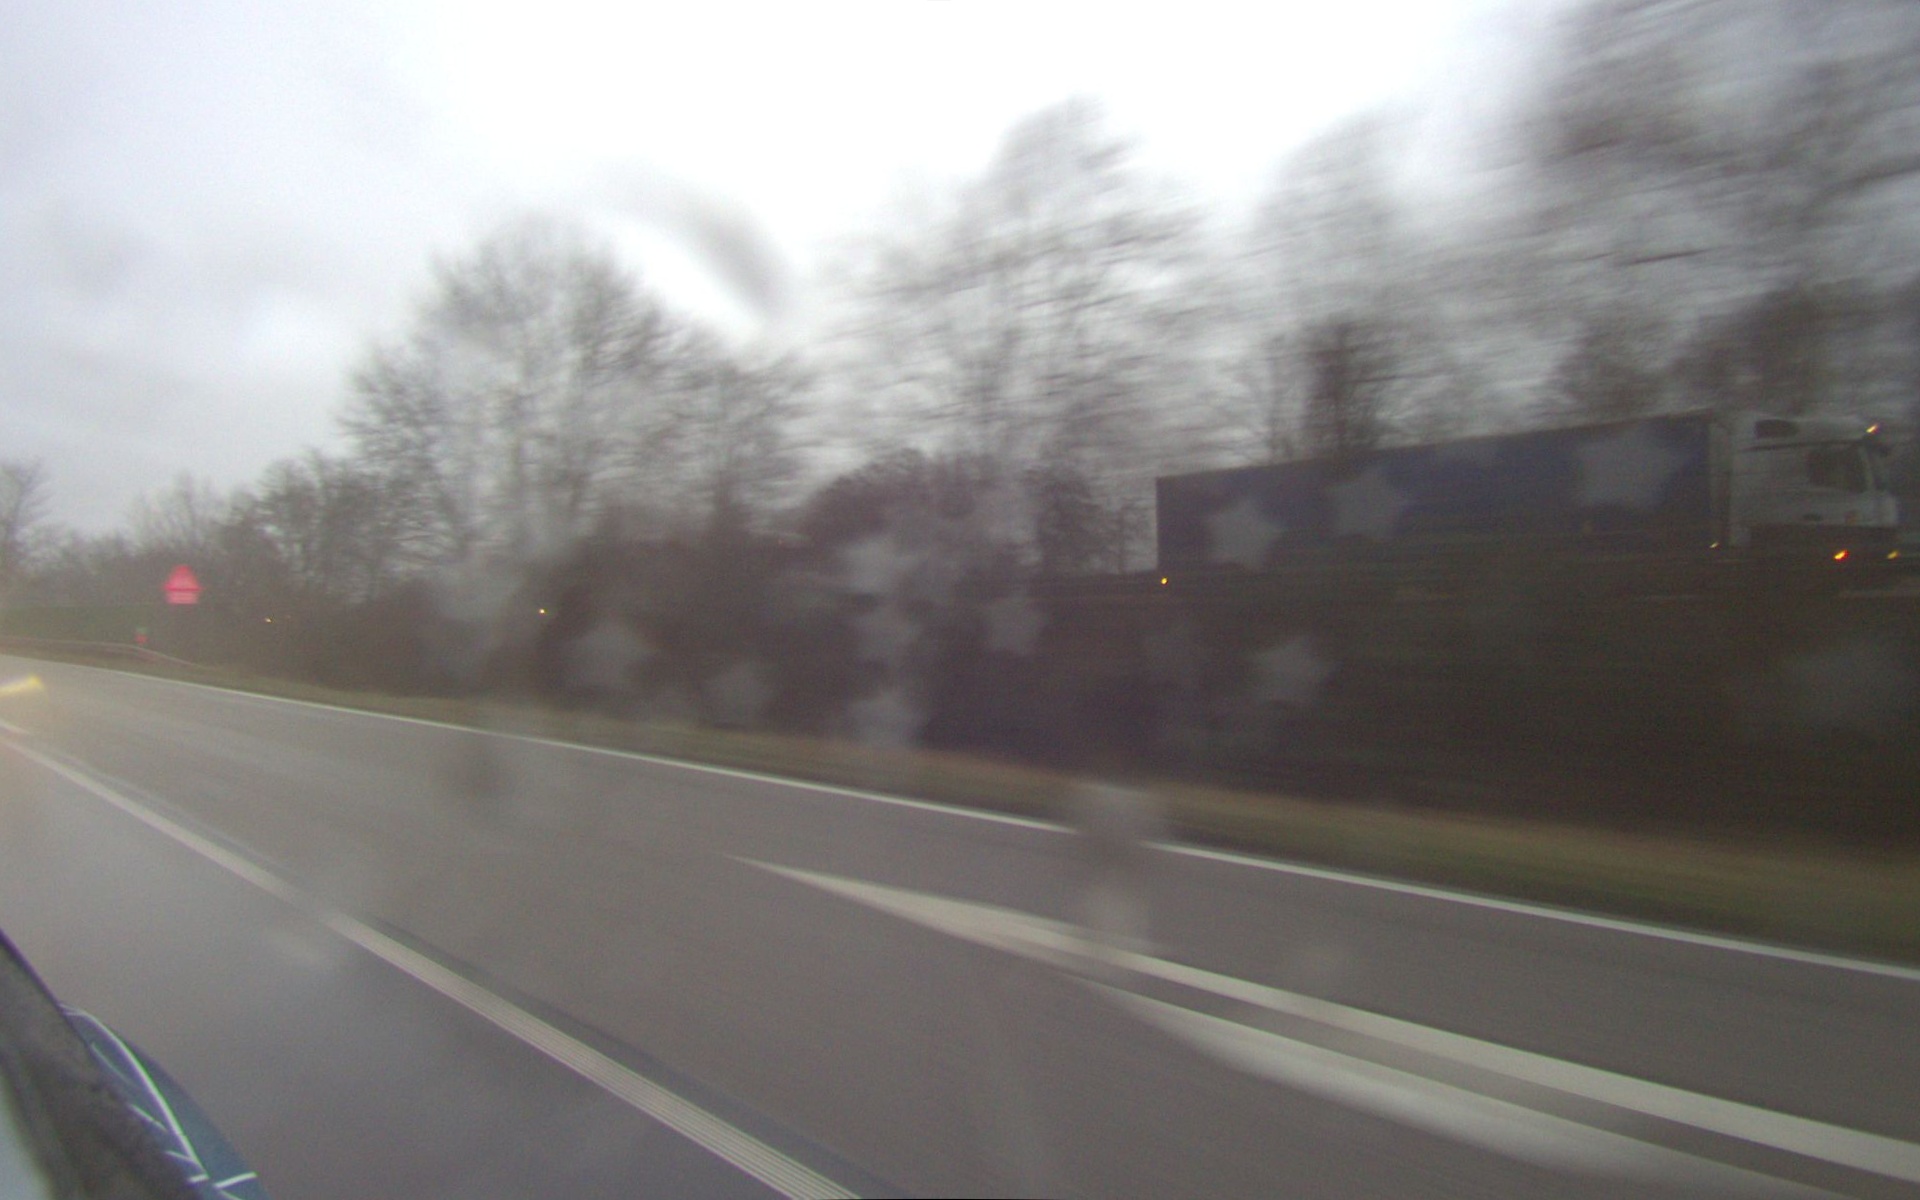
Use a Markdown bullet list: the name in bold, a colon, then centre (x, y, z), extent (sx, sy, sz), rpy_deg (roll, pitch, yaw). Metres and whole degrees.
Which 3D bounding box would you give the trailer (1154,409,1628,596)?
- **trailer**: centre (10.889, -2.156, 27.205), extent (11.391, 3.661, 2.964), rpy_deg (-3, -3, 45)

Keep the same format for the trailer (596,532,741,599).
- **trailer**: centre (-15.843, -1.675, 54.288), extent (11.090, 2.913, 2.408), rpy_deg (-3, -3, 45)

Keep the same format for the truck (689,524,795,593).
- **truck**: centre (-10.621, -1.934, 49.032), extent (5.586, 2.909, 2.422), rpy_deg (-3, -3, 45)

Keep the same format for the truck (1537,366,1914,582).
- **truck**: centre (16.308, -2.389, 21.832), extent (6.069, 3.660, 2.958), rpy_deg (-3, -3, 45)
